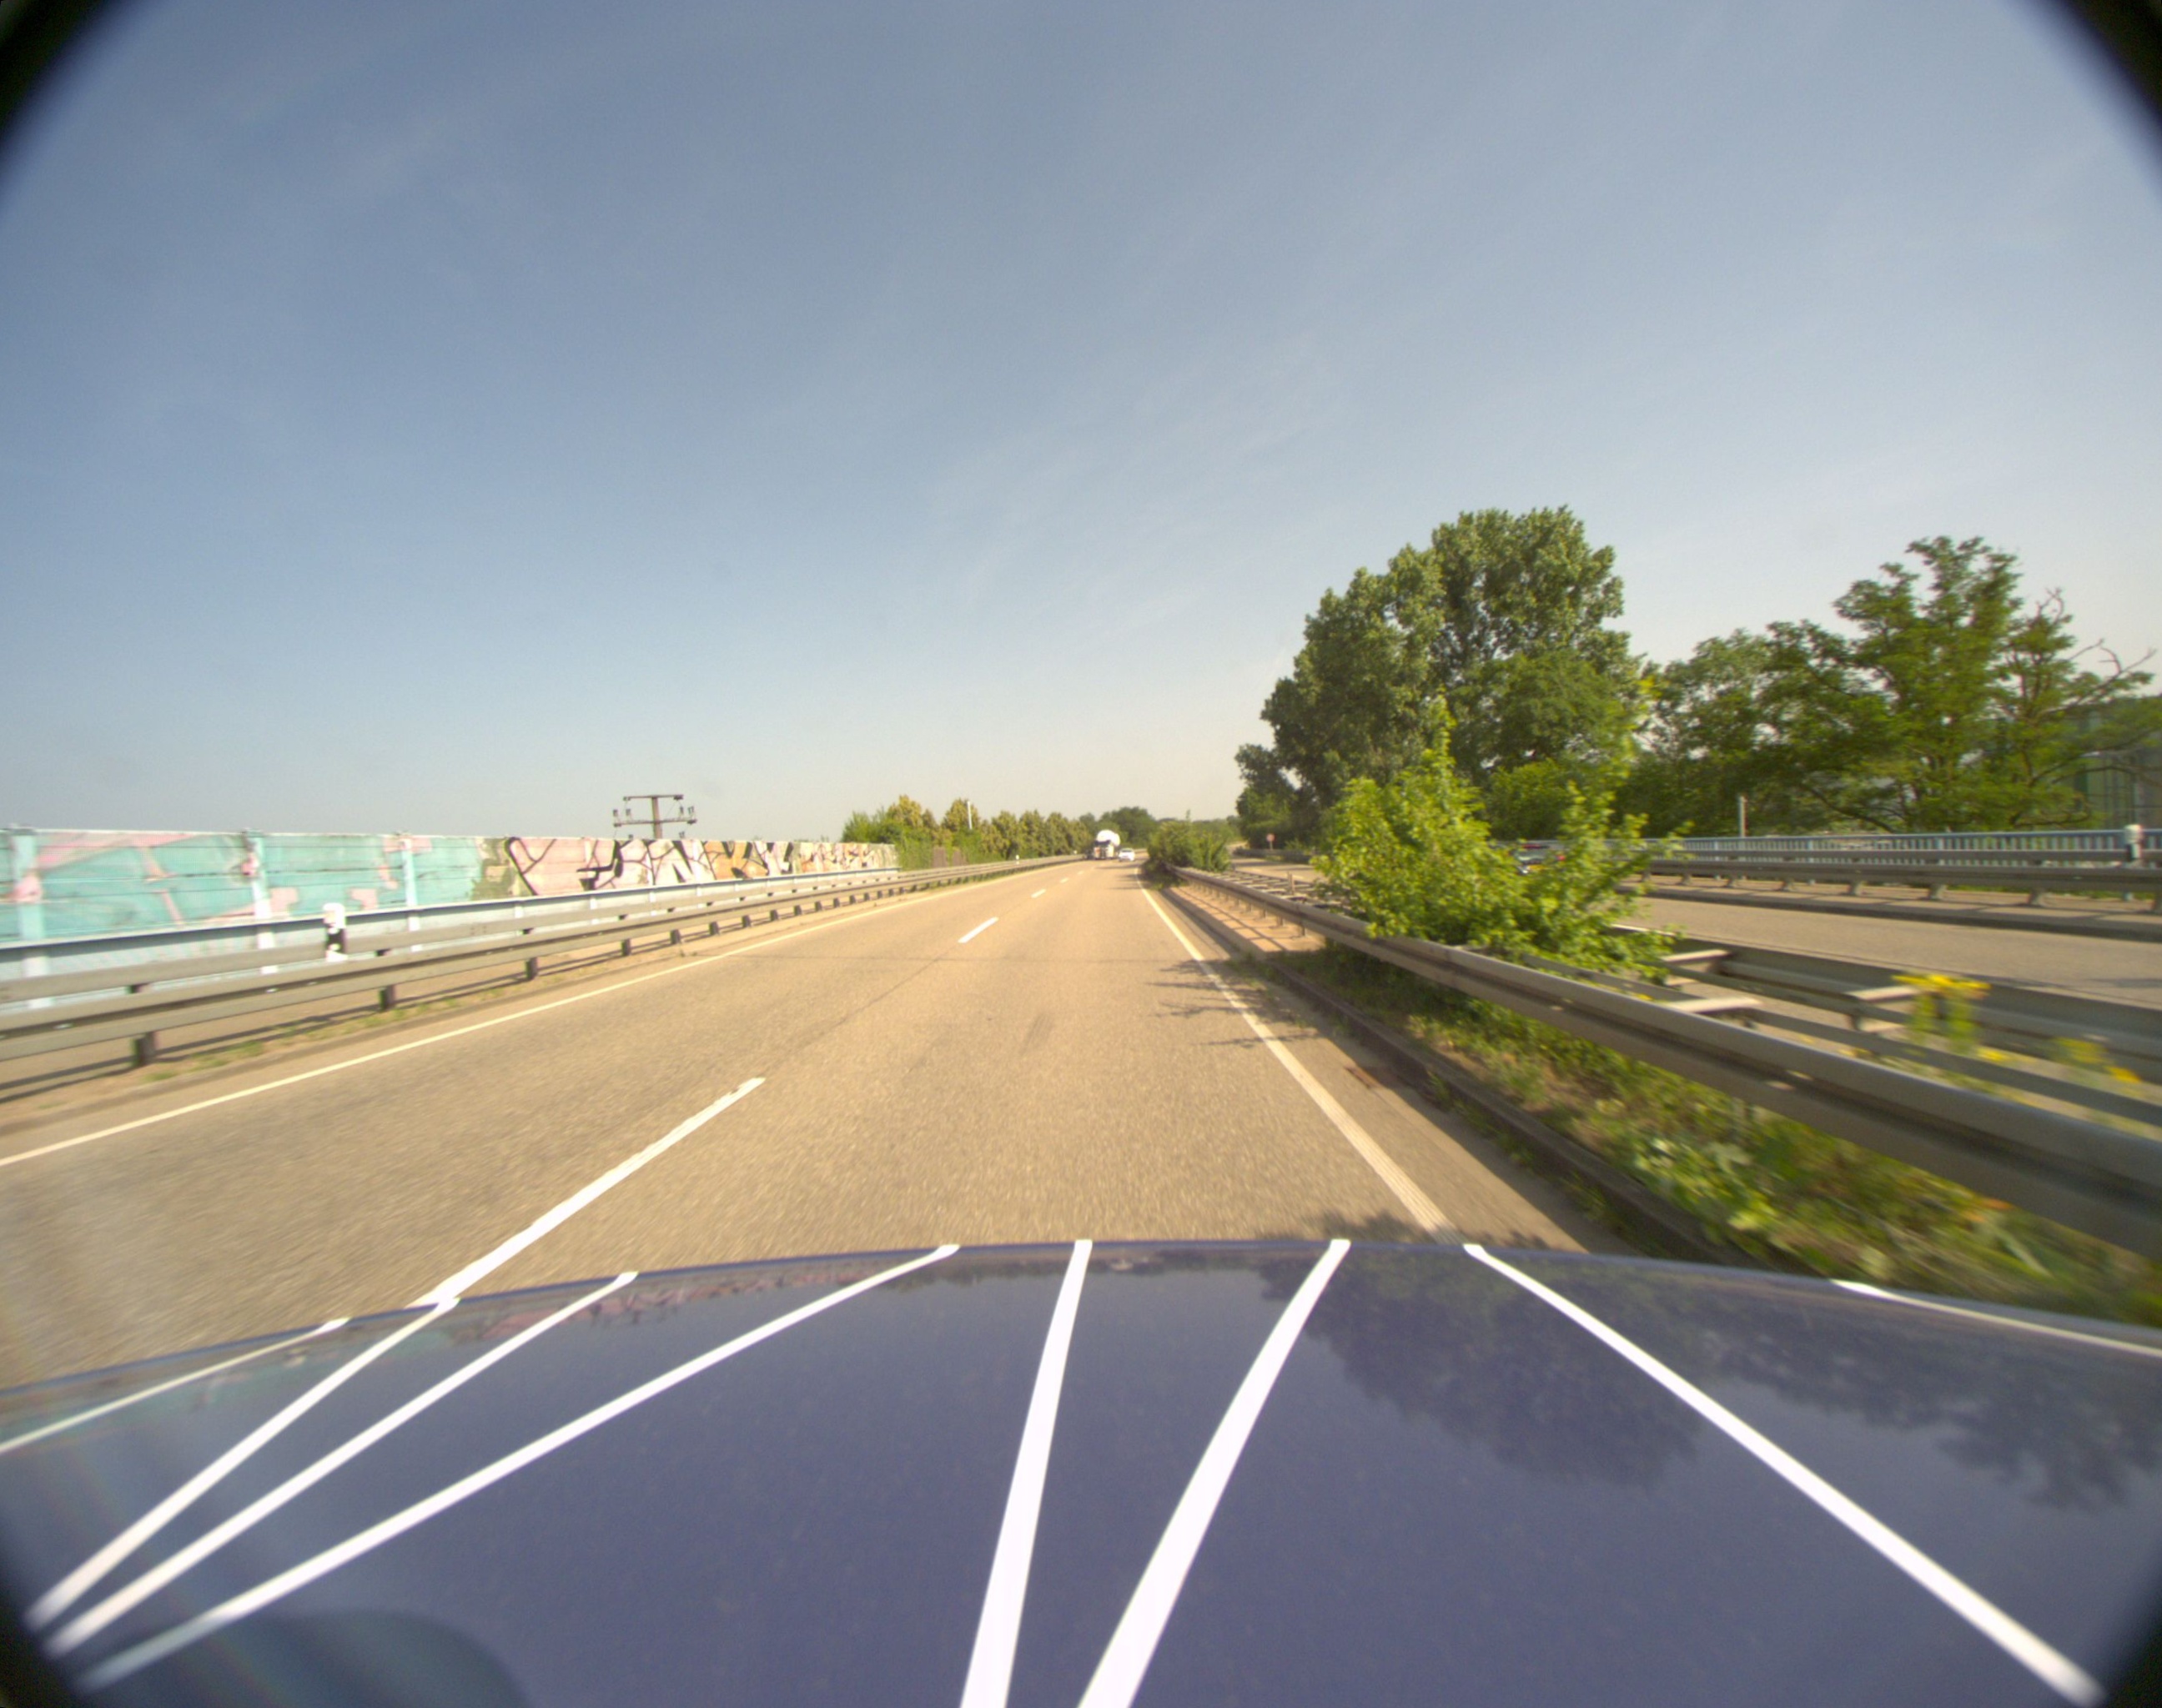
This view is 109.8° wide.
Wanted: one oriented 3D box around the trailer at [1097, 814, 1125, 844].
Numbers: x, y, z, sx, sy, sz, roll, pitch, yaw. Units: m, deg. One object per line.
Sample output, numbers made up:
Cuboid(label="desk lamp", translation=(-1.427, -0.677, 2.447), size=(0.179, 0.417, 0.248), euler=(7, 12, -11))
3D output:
Cuboid(label="trailer", translation=(4.285, -3.519, 106.552), size=(2.761, 3.969, 8.189), euler=(-2, 2, 10))

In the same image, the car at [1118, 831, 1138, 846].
Cuboid(label="car", translation=(5.318, -1.760, 85.656), size=(1.788, 1.428, 4.001), euler=(-3, 2, 9))

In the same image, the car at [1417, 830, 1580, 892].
Cuboid(label="car", translation=(10.876, 0.133, 20.275), size=(1.712, 1.362, 4.836), euler=(-3, 1, 1))

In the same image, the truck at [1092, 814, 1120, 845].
Cuboid(label="truck", translation=(3.333, -3.316, 100.951), size=(2.777, 3.940, 5.629), euler=(-2, 2, 10))
